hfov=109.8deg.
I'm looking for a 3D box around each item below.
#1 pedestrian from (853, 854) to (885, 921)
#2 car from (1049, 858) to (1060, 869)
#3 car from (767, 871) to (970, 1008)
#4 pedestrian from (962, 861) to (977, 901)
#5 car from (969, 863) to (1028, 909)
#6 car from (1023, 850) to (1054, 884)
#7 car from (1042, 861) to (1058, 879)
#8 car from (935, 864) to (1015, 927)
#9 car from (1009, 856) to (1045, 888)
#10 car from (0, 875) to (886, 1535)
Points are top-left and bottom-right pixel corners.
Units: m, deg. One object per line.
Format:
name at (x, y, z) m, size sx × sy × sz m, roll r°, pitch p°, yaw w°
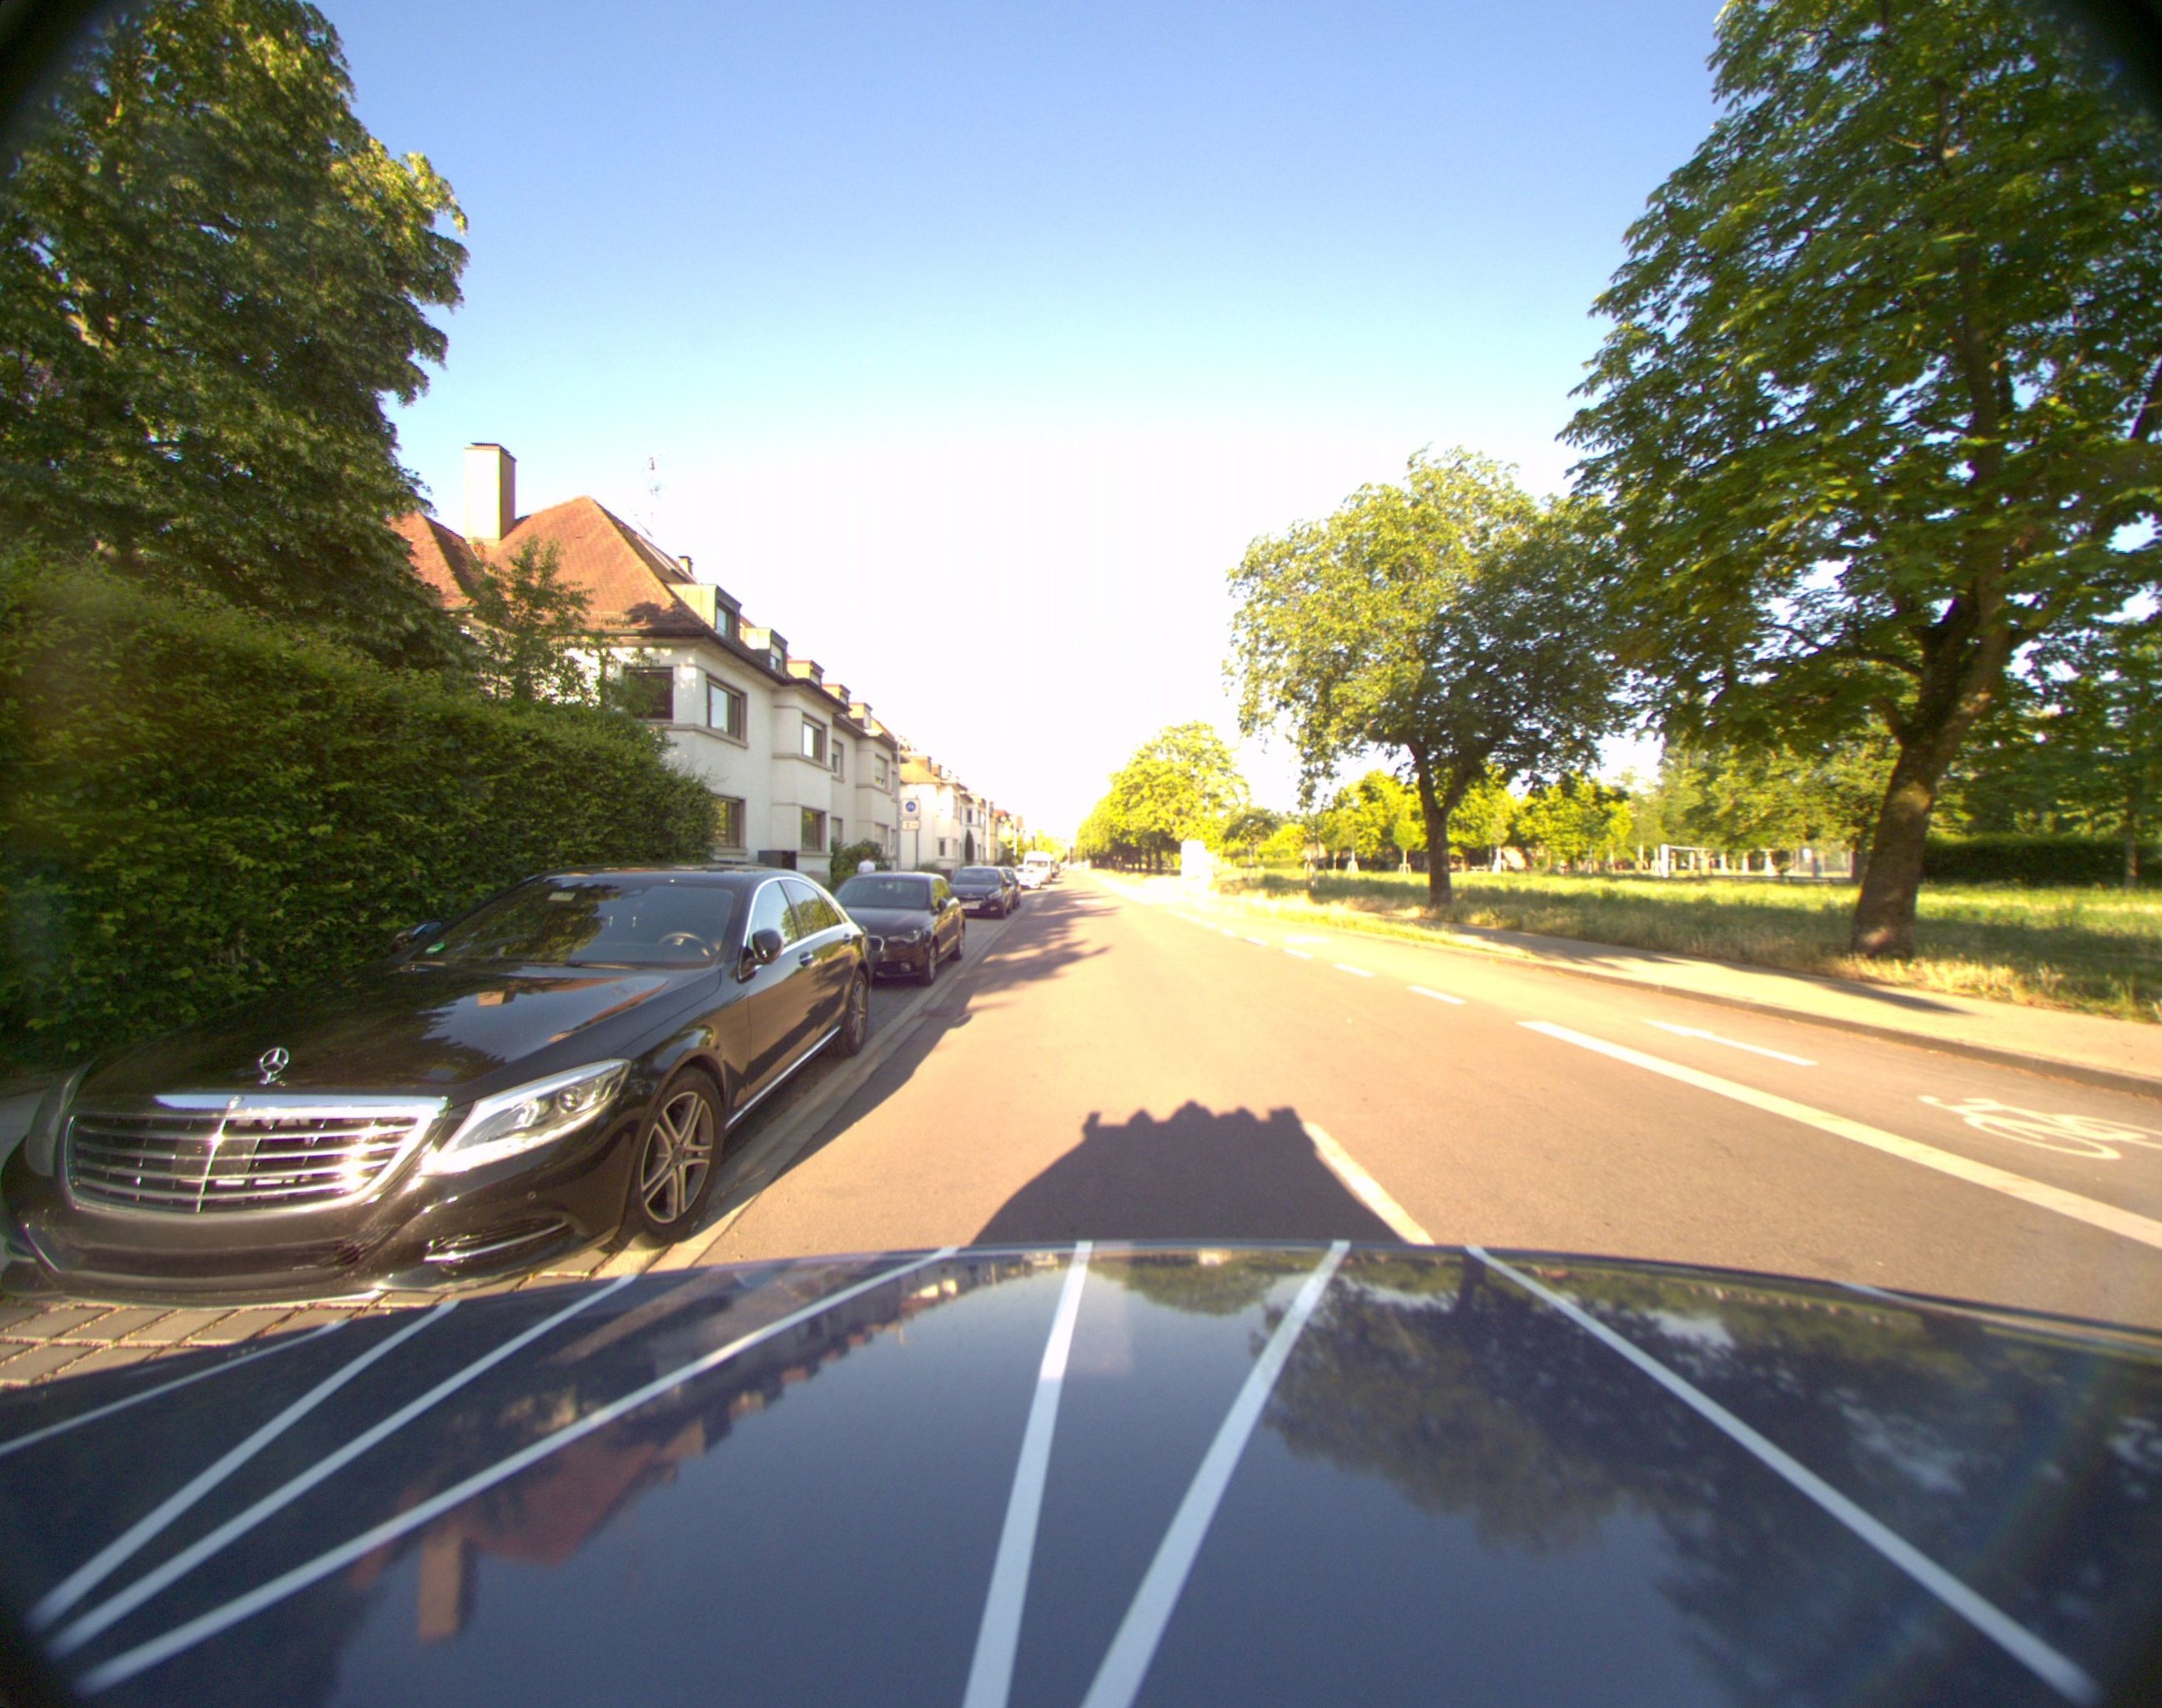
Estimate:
pedestrian at (-6.030, 0.937, 21.621) m, size 0.587 × 1.835 × 0.823 m, roll -2°, pitch 1°, yaw 1°
car at (-4.111, 1.426, 117.190) m, size 1.682 × 1.543 × 3.842 m, roll 1°, pitch 0°, yaw -3°
car at (-2.750, 1.034, 10.802) m, size 1.784 × 1.469 × 4.000 m, roll -2°, pitch -1°, yaw -1°
pedestrian at (-5.078, 1.214, 34.639) m, size 0.531 × 1.787 × 0.589 m, roll -2°, pitch 1°, yaw -2°
car at (-2.940, 1.119, 27.684) m, size 1.680 × 1.525 × 3.472 m, roll -2°, pitch -1°, yaw 1°
car at (-3.269, 0.955, 59.761) m, size 2.132 × 2.461 × 5.723 m, roll -2°, pitch 1°, yaw -1°
car at (-3.596, 1.838, 88.945) m, size 1.708 × 1.848 × 3.712 m, roll -2°, pitch 1°, yaw 0°
car at (-2.957, 1.121, 22.013) m, size 1.796 × 1.586 × 4.077 m, roll -2°, pitch -1°, yaw -1°
car at (-3.260, 1.062, 46.559) m, size 1.999 × 1.775 × 3.999 m, roll -2°, pitch 1°, yaw -1°
car at (-2.621, 0.921, 4.293) m, size 2.009 × 1.489 × 4.914 m, roll 1°, pitch 0°, yaw -3°
